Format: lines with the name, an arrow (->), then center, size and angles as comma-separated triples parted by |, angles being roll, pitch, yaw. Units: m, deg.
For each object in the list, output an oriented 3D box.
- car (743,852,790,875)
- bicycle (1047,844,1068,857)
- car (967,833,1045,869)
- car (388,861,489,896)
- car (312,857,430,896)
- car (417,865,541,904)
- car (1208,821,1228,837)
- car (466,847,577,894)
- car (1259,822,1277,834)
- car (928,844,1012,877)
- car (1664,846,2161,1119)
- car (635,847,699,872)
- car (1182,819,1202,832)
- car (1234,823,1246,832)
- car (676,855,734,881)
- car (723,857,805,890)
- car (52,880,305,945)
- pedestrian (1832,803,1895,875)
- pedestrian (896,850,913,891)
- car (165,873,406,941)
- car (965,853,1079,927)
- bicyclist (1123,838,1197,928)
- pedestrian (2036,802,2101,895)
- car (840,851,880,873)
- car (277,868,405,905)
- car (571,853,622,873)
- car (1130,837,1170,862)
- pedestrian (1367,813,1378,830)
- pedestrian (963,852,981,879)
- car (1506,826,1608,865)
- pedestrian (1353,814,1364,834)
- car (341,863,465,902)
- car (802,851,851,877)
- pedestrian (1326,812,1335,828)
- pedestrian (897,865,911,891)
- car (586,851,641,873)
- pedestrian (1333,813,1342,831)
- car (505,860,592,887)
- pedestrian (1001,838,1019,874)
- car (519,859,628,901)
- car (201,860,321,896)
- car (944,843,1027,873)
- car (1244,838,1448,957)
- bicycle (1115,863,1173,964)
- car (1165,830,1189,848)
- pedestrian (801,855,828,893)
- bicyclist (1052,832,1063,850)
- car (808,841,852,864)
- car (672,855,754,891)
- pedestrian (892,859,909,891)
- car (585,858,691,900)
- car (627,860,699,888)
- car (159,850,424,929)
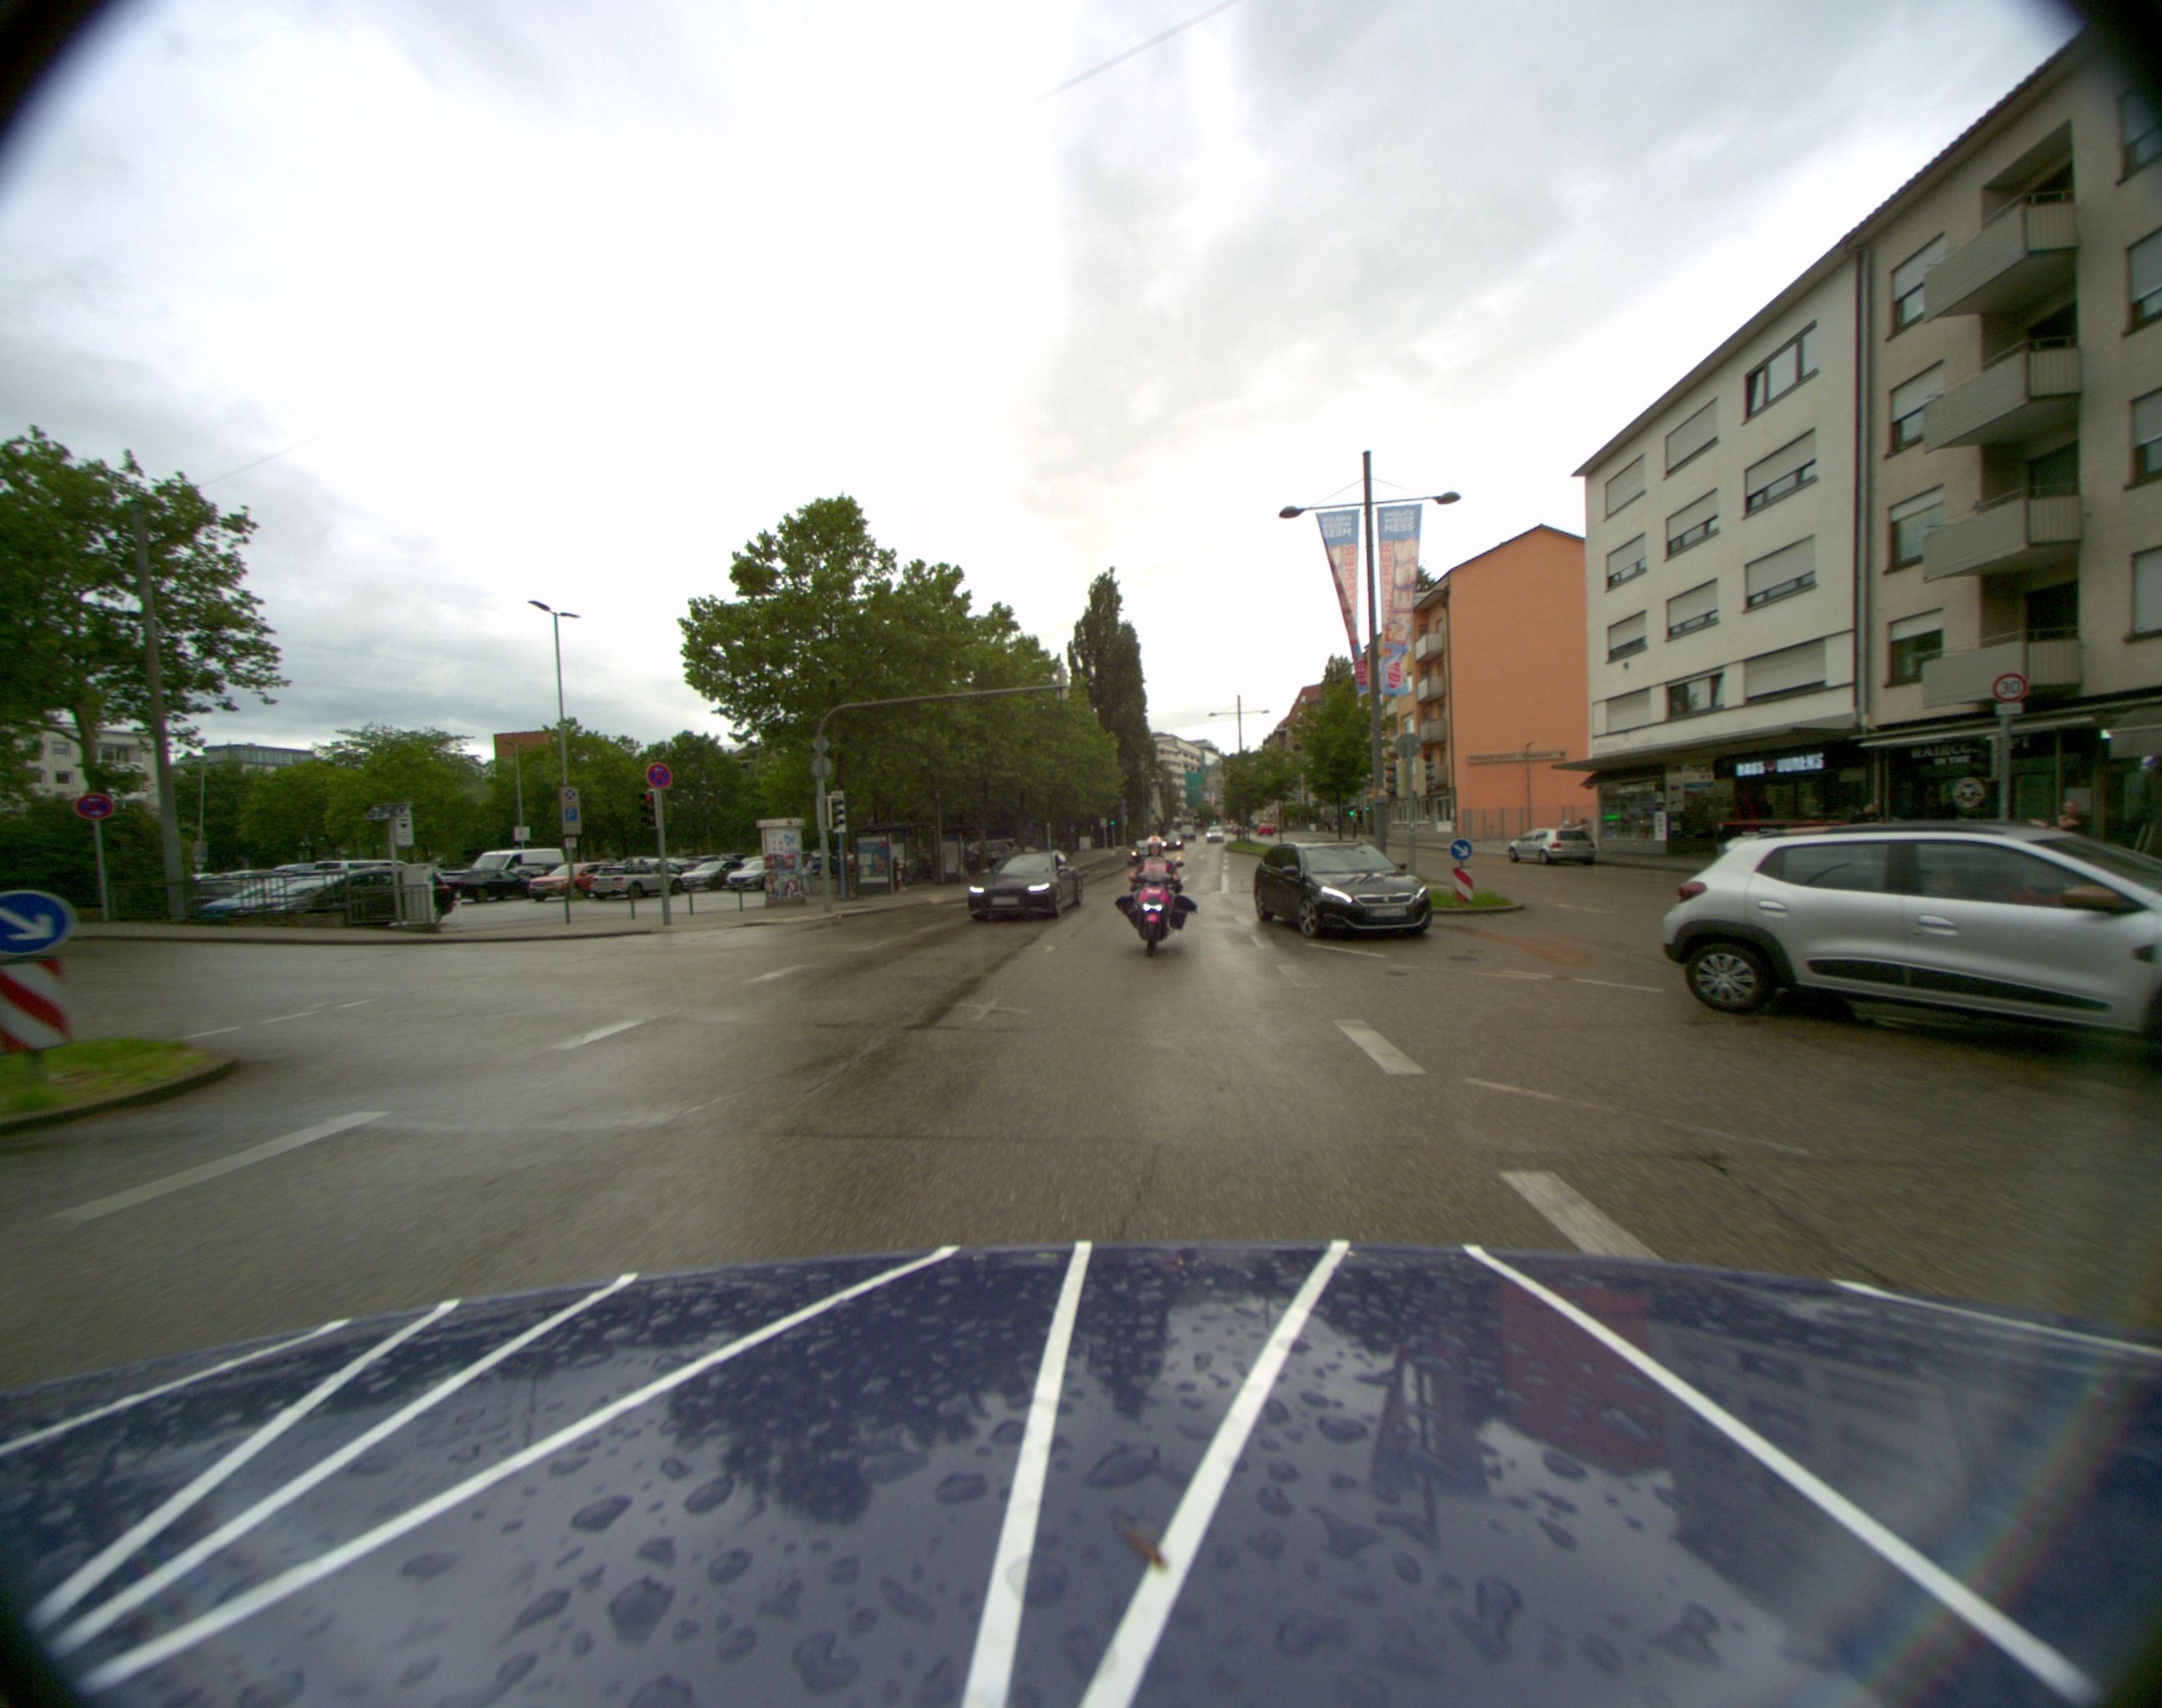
car -> -23.222, 0.702, 56.233 | 1.530, 1.549, 3.634 | -1, 1, 8
bicycle -> -2.329, -0.360, 75.199 | 1.933, 1.088, 0.649 | -4, 3, -8
car -> -5.126, -0.231, 52.230 | 4.843, 1.932, 1.951 | -5, 2, 12
car -> -34.538, 1.261, 40.989 | 1.807, 1.658, 3.902 | -1, 1, 6
car -> -37.574, 1.164, 40.378 | 1.832, 1.820, 4.365 | -1, 1, 6
car -> -26.422, 1.310, 33.538 | 1.760, 1.440, 4.003 | -1, 1, 12
car -> 14.272, -2.569, 78.875 | 1.894, 1.567, 4.363 | -1, 2, 12
car -> -30.226, 0.816, 41.286 | 1.971, 2.306, 5.013 | -1, 1, 5
car -> 22.570, -3.135, 91.957 | 1.606, 1.423, 3.945 | 0, 3, 6
car -> -6.435, 0.362, 44.427 | 4.410, 1.476, 1.863 | -5, 2, 6
car -> 6.440, 0.714, 5.156 | 1.543, 1.453, 3.621 | -4, 2, -25
car -> -31.263, 0.387, 57.614 | 1.971, 1.660, 4.631 | -1, 1, 5
car -> 12.827, -3.307, 87.555 | 1.894, 1.480, 4.363 | -1, 2, 12
car -> 26.425, -4.413, 126.351 | 1.570, 1.386, 3.834 | -1, 3, 7
car -> -24.287, 0.862, 49.157 | 1.530, 1.496, 3.634 | -1, 1, 8
car -> -15.684, 0.927, 37.830 | 1.736, 1.432, 4.446 | -1, 1, 7
car -> -25.546, 1.600, 21.794 | 1.854, 1.347, 4.263 | -2, 2, 8
pedestrian -> 19.953, -0.382, 19.392 | 0.779, 1.720, 0.660 | -6, 2, 10
pedestrian -> -7.409, 0.701, 31.912 | 0.541, 1.686, 0.554 | -3, 2, -19
car -> -21.794, 1.382, 21.127 | 1.854, 1.432, 4.263 | -2, 2, 8
car -> -1.247, 0.760, 18.030 | 1.895, 1.397, 4.361 | -1, 2, 6
bicyclist -> 1.157, 0.417, 11.045 | 0.962, 1.219, 0.715 | -3, -1, 10
pedestrian -> 18.999, -0.109, 14.629 | 0.453, 1.721, 0.524 | -6, 2, 11
car -> -15.933, 0.528, 54.953 | 1.531, 1.419, 3.837 | -1, 1, 4
car -> -34.575, 1.486, 35.648 | 1.659, 1.436, 4.003 | -1, 1, 12
car -> -41.700, 0.765, 65.499 | 1.638, 1.416, 3.598 | -3, 3, 8
car -> 4.283, -0.304, 46.457 | 1.894, 1.392, 4.363 | -1, 2, 12
pedestrian -> 29.884, -3.323, 77.916 | 0.747, 1.682, 0.681 | -4, 3, -24
pedestrian -> -5.636, 0.591, 39.325 | 0.632, 1.315, 0.626 | -3, 4, 23
car -> 18.493, -0.378, 29.759 | 1.679, 1.384, 4.152 | 0, 2, 5
pedestrian -> 25.581, -2.767, 69.978 | 0.561, 1.719, 0.608 | -7, 2, -11
car -> -31.576, 1.286, 35.552 | 1.760, 1.557, 4.003 | -1, 1, 12
car -> -16.446, 0.613, 49.214 | 1.639, 1.414, 3.355 | -3, 3, 6
pedestrian -> 27.802, -3.785, 84.788 | 0.766, 1.686, 0.800 | -2, 3, 5
pedestrian -> -7.309, 0.986, 31.397 | 0.401, 1.029, 0.371 | -2, 2, 11
car -> -35.964, 0.581, 58.550 | 1.530, 1.583, 3.612 | -1, 1, 9
pedestrian -> 27.315, -3.445, 80.872 | 0.746, 1.877, 0.800 | -2, 3, 5
car -> -27.138, 0.967, 38.871 | 1.530, 1.229, 3.634 | -1, 1, 8
pedestrian -> -3.849, 0.101, 41.068 | 0.734, 1.832, 0.756 | -5, 3, -12
car -> -22.387, 1.111, 33.738 | 1.760, 1.581, 4.002 | -1, 1, 8
car -> -46.928, 1.338, 43.616 | 1.832, 1.820, 4.365 | -1, 1, 6
car -> -6.054, 0.240, 48.370 | 4.746, 1.397, 1.863 | -5, 2, 12
car -> 4.144, 0.563, 12.705 | 1.803, 1.426, 4.394 | -4, 3, 0
bicycle -> 0.978, 0.806, 11.309 | 0.716, 1.298, 2.429 | 0, 0, 8
car -> 8.070, -1.319, 64.122 | 1.896, 1.413, 4.361 | -1, 2, 5
pedestrian -> -12.036, 0.900, 34.351 | 0.766, 1.623, 0.861 | -2, 2, 10
bicyclist -> -2.320, -1.281, 75.134 | 0.987, 1.761, 0.796 | -4, 3, -8
car -> -21.902, -0.158, 66.425 | 1.780, 1.679, 4.445 | -3, 3, 8
car -> -18.445, 0.900, 38.280 | 1.760, 1.581, 4.002 | -1, 1, 8
pedestrian -> -7.353, 0.853, 30.956 | 0.499, 1.264, 0.402 | -2, 2, 11
car -> -19.406, 1.043, 33.495 | 1.760, 1.581, 4.178 | -1, 1, 8
car -> -21.516, 0.997, 39.240 | 1.530, 1.229, 3.356 | -1, 1, 8
car -> -19.422, 0.780, 19.023 | 1.803, 1.604, 4.263 | -2, 2, 8
